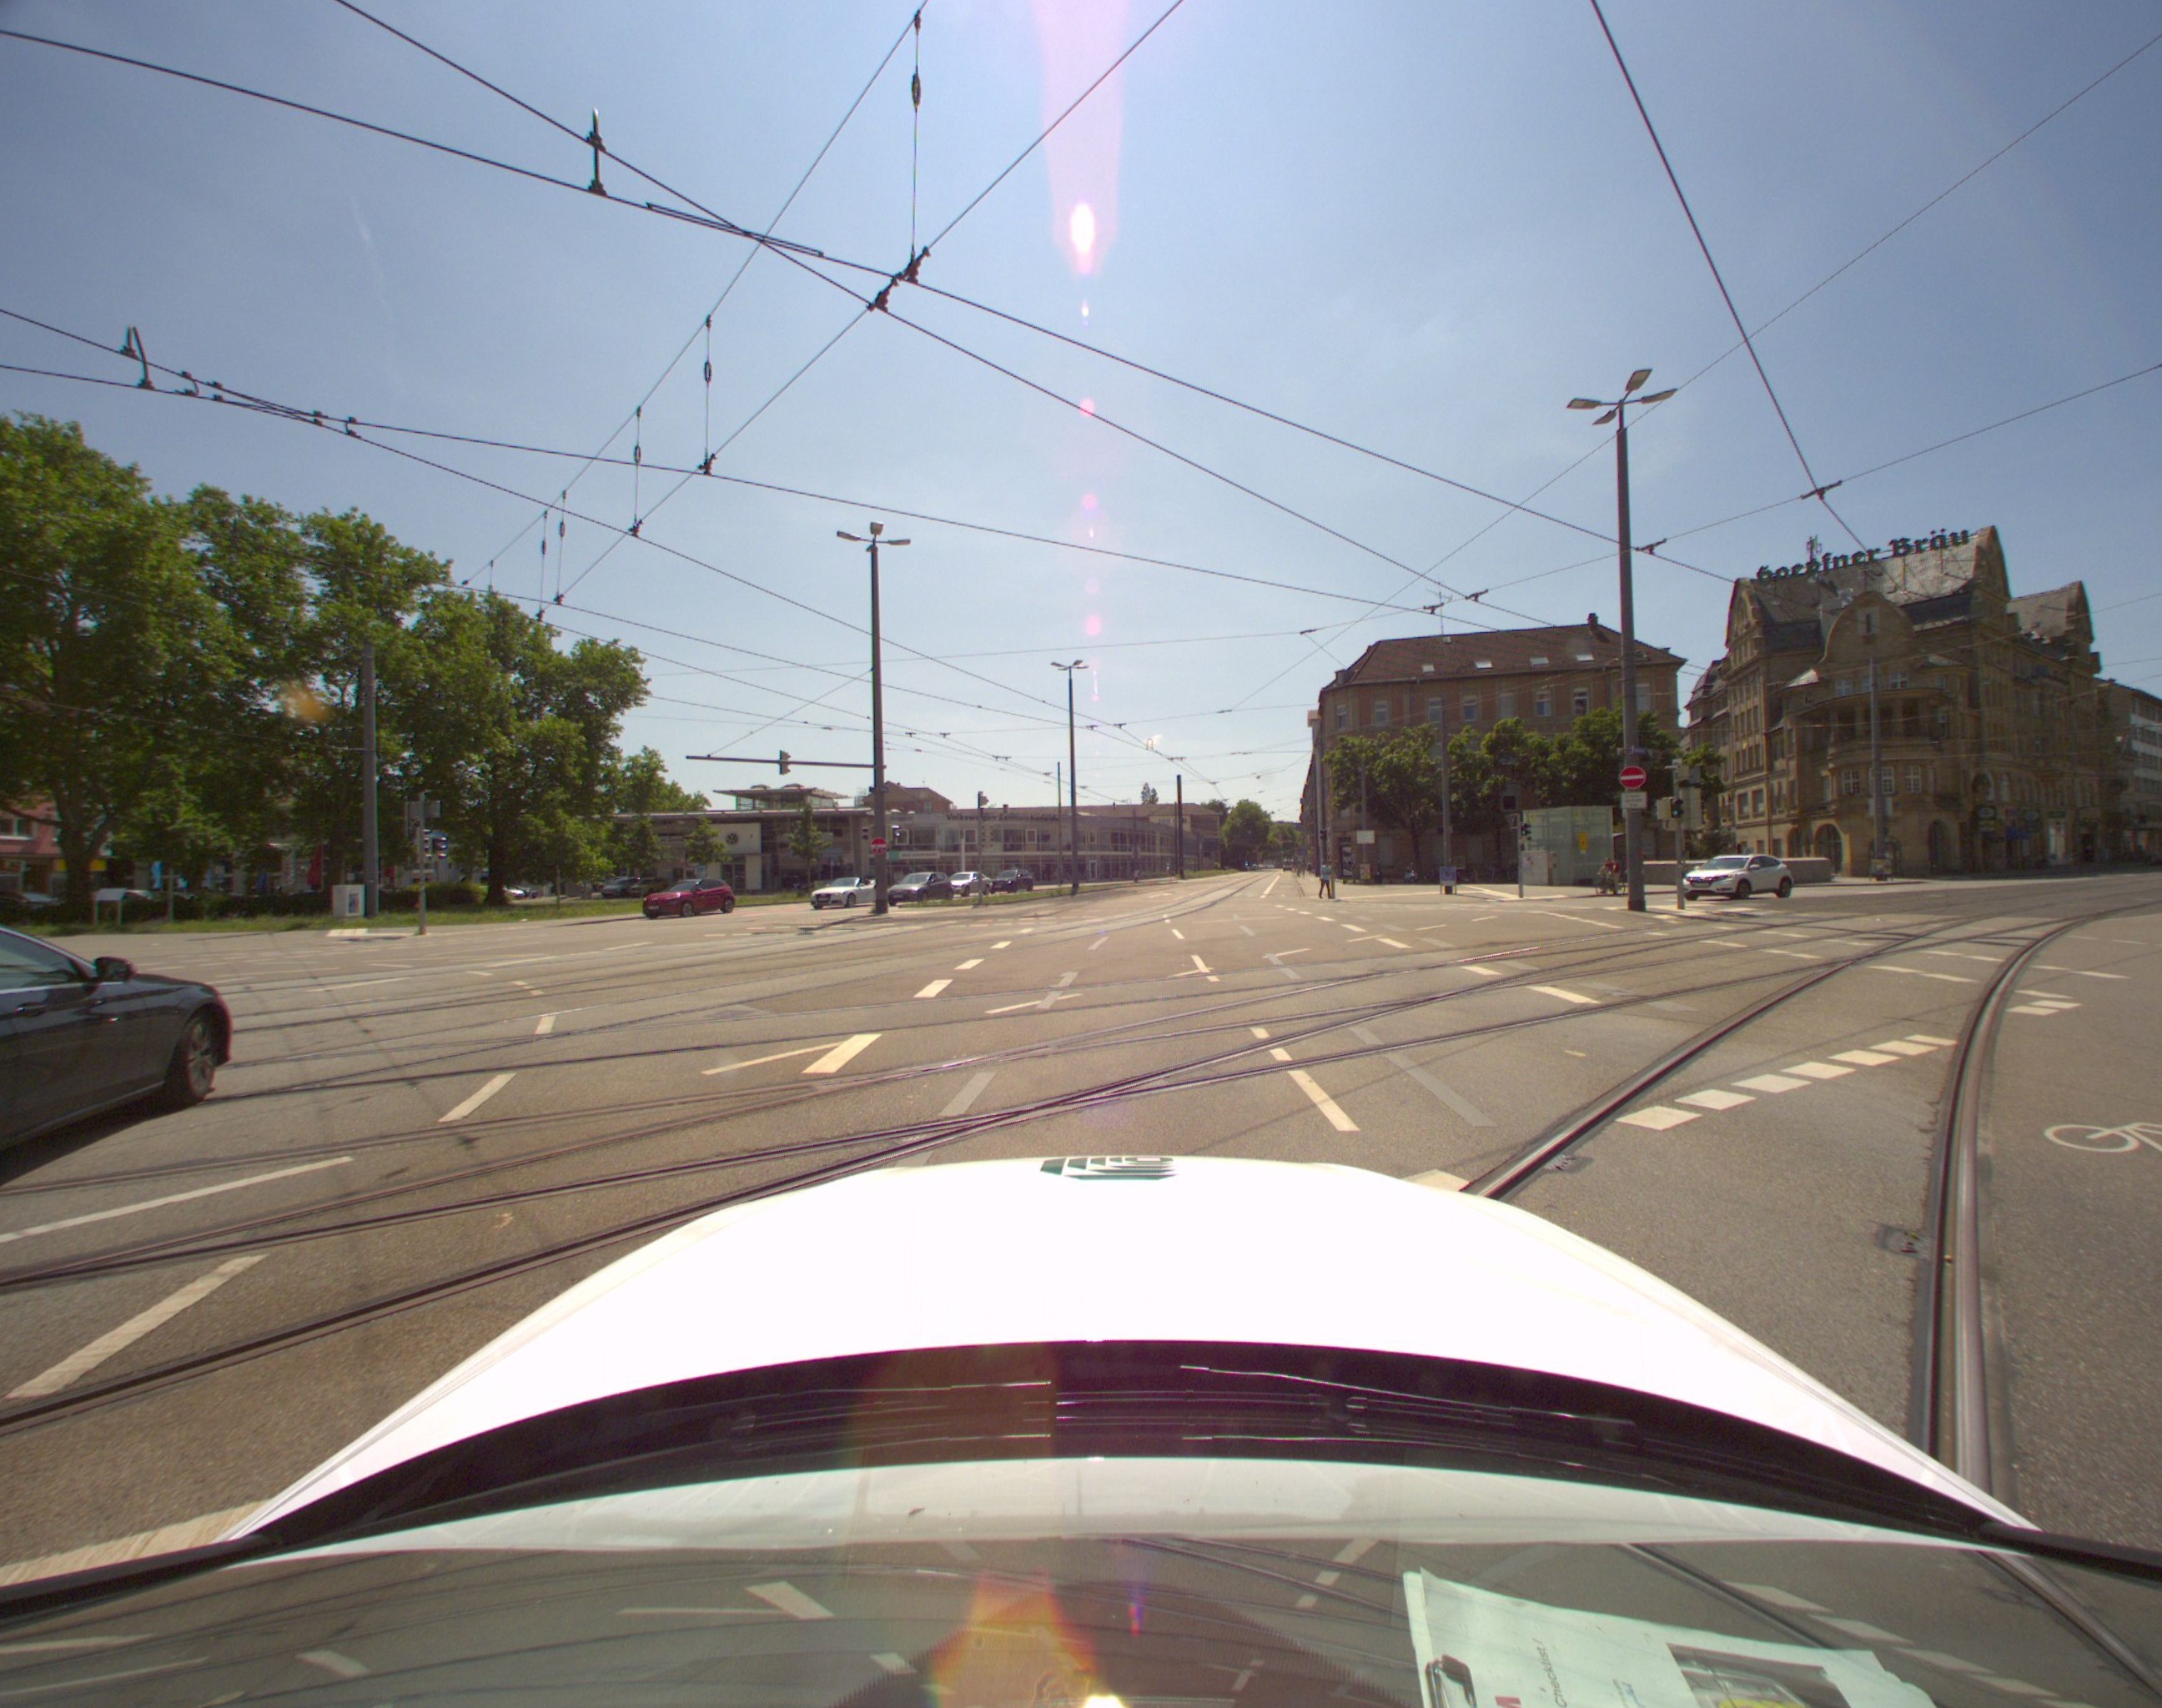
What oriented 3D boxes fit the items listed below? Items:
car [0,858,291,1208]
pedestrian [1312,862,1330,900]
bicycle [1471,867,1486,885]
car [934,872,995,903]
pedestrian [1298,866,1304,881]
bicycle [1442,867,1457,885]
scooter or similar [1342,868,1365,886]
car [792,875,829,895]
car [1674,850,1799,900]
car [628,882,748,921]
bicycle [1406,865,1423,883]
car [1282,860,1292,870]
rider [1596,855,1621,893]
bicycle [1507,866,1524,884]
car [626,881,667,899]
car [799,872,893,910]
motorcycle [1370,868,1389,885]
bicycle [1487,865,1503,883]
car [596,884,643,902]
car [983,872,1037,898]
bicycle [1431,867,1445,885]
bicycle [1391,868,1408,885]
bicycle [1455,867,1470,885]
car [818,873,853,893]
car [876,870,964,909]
[{"bbox_3d":[-6.049,0.835,3.829,1.806,1.640,4.765,1,-1,-25],"label":"car"},{"bbox_3d":[11.002,1.244,37.313,0.463,1.708,0.635,-1,-2,-22],"label":"pedestrian"},{"bbox_3d":[25.781,1.425,52.829,0.547,1.120,1.878,-2,-1,16],"label":"bicycle"},{"bbox_3d":[-7.087,2.040,50.042,1.978,1.739,4.562,-2,-1,16],"label":"car"},{"bbox_3d":[30.480,2.719,112.907,0.762,2.014,0.666,0,-2,11],"label":"pedestrian"},{"bbox_3d":[23.695,1.427,52.406,0.547,1.120,1.828,-2,-1,16],"label":"bicycle"},{"bbox_3d":[18.722,1.548,55.913,1.800,1.181,0.593,0,-2,-37],"label":"scooter or similar"},{"bbox_3d":[-24.274,2.764,73.279,1.914,1.707,3.999,1,-2,0],"label":"car"},{"bbox_3d":[22.959,0.704,28.507,4.200,1.605,1.680,-1,-1,-25],"label":"car"},{"bbox_3d":[-16.643,1.979,34.834,1.980,1.465,4.863,-2,-1,13],"label":"car"},{"bbox_3d":[21.822,1.290,53.295,0.440,1.146,2.097,0,-2,6],"label":"bicycle"},{"bbox_3d":[45.672,2.470,180.393,1.979,2.181,4.385,0,-2,14],"label":"car"},{"bbox_3d":[22.627,0.846,34.926,0.878,1.601,0.559,0,-2,-32],"label":"rider"},{"bbox_3d":[27.965,1.356,52.440,0.547,1.120,1.828,-2,-1,16],"label":"bicycle"},{"bbox_3d":[-39.485,3.285,74.114,1.764,1.510,4.318,-1,-1,-5],"label":"car"},{"bbox_3d":[-10.747,1.648,37.671,2.062,1.580,4.863,-2,-1,13],"label":"car"},{"bbox_3d":[19.445,1.475,53.109,0.577,1.074,1.947,-1,-1,3],"label":"motorcycle"},{"bbox_3d":[26.810,1.297,52.772,0.547,1.120,1.937,-2,-1,16],"label":"bicycle"},{"bbox_3d":[-42.153,3.514,74.508,1.761,1.510,4.326,-1,-1,0],"label":"car"},{"bbox_3d":[-4.873,2.125,56.677,2.062,1.683,4.867,-2,-1,16],"label":"car"},{"bbox_3d":[23.098,1.424,52.663,0.547,1.120,1.828,-2,-1,16],"label":"bicycle"},{"bbox_3d":[20.724,1.462,53.011,0.548,1.120,1.823,-1,-1,6],"label":"bicycle"},{"bbox_3d":[24.473,1.428,52.272,0.547,1.120,1.897,-2,-1,16],"label":"bicycle"},{"bbox_3d":[-22.043,2.588,73.245,1.914,1.707,3.999,1,-2,0],"label":"car"},{"bbox_3d":[-7.408,1.628,38.018,1.978,1.637,4.867,-2,-1,16],"label":"car"}]
